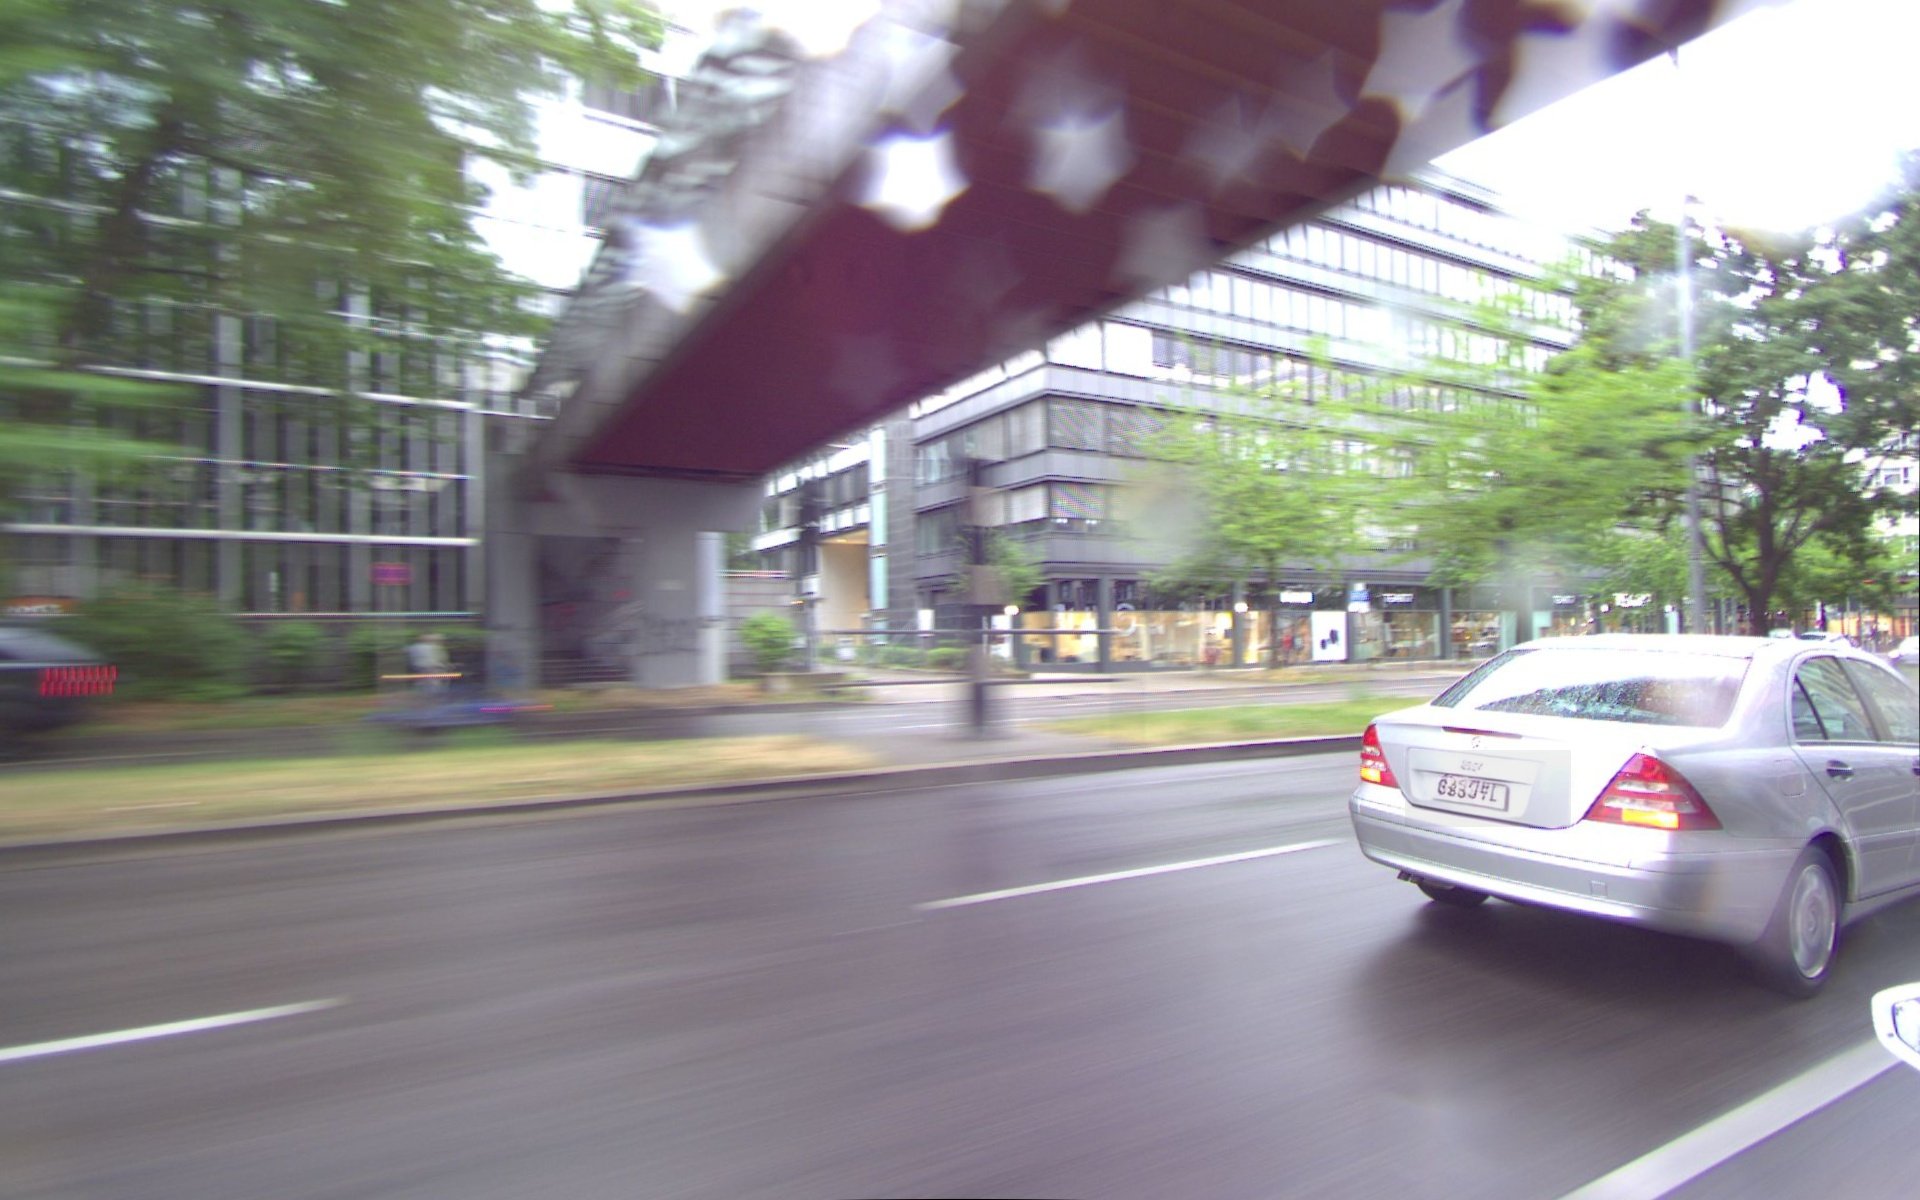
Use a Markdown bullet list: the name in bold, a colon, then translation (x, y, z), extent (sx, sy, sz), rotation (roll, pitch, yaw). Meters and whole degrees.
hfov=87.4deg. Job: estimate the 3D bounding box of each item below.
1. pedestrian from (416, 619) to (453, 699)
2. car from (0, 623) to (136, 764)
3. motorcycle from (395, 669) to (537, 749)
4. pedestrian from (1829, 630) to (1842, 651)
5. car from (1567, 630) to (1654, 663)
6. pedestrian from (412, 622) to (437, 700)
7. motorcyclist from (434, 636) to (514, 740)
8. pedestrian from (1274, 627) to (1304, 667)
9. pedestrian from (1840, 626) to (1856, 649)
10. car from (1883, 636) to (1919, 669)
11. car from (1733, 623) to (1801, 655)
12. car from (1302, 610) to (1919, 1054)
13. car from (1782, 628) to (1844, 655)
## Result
- **pedestrian**: translation (-12.235, 1.363, 23.376), extent (0.751, 1.831, 0.593), rotation (0, -1, -30)
- **car**: translation (-14.047, 1.249, 12.858), extent (5.129, 1.790, 1.990), rotation (1, -5, -33)
- **motorcycle**: translation (-7.045, 1.534, 14.355), extent (1.784, 1.035, 0.581), rotation (1, -2, -31)
- **pedestrian**: translation (64.434, 2.999, 73.917), extent (0.591, 1.523, 0.437), rotation (0, -1, 22)
- **car**: translation (29.363, 2.109, 45.328), extent (4.397, 1.451, 1.615), rotation (2, -3, -33)
- **pedestrian**: translation (-12.739, 1.431, 23.884), extent (0.505, 1.831, 0.603), rotation (0, -1, -30)
- **motorcyclist**: translation (-6.964, 1.242, 14.389), extent (0.958, 1.437, 0.635), rotation (2, -3, -30)
- **pedestrian**: translation (14.488, 2.068, 44.201), extent (1.045, 1.738, 0.739), rotation (1, -2, -31)
- **pedestrian**: translation (69.196, 2.932, 78.269), extent (0.739, 1.736, 0.594), rotation (0, -1, 22)
- **car**: translation (39.903, 2.192, 41.645), extent (3.581, 1.328, 1.613), rotation (2, -3, -34)
- **car**: translation (43.276, 2.068, 53.862), extent (4.185, 1.632, 1.614), rotation (1, -1, -33)
- **car**: translation (3.917, 0.849, 5.228), extent (4.310, 1.498, 1.664), rotation (2, -1, -31)
- **car**: translation (48.395, 2.336, 56.971), extent (3.919, 1.480, 1.614), rotation (1, -1, -33)
